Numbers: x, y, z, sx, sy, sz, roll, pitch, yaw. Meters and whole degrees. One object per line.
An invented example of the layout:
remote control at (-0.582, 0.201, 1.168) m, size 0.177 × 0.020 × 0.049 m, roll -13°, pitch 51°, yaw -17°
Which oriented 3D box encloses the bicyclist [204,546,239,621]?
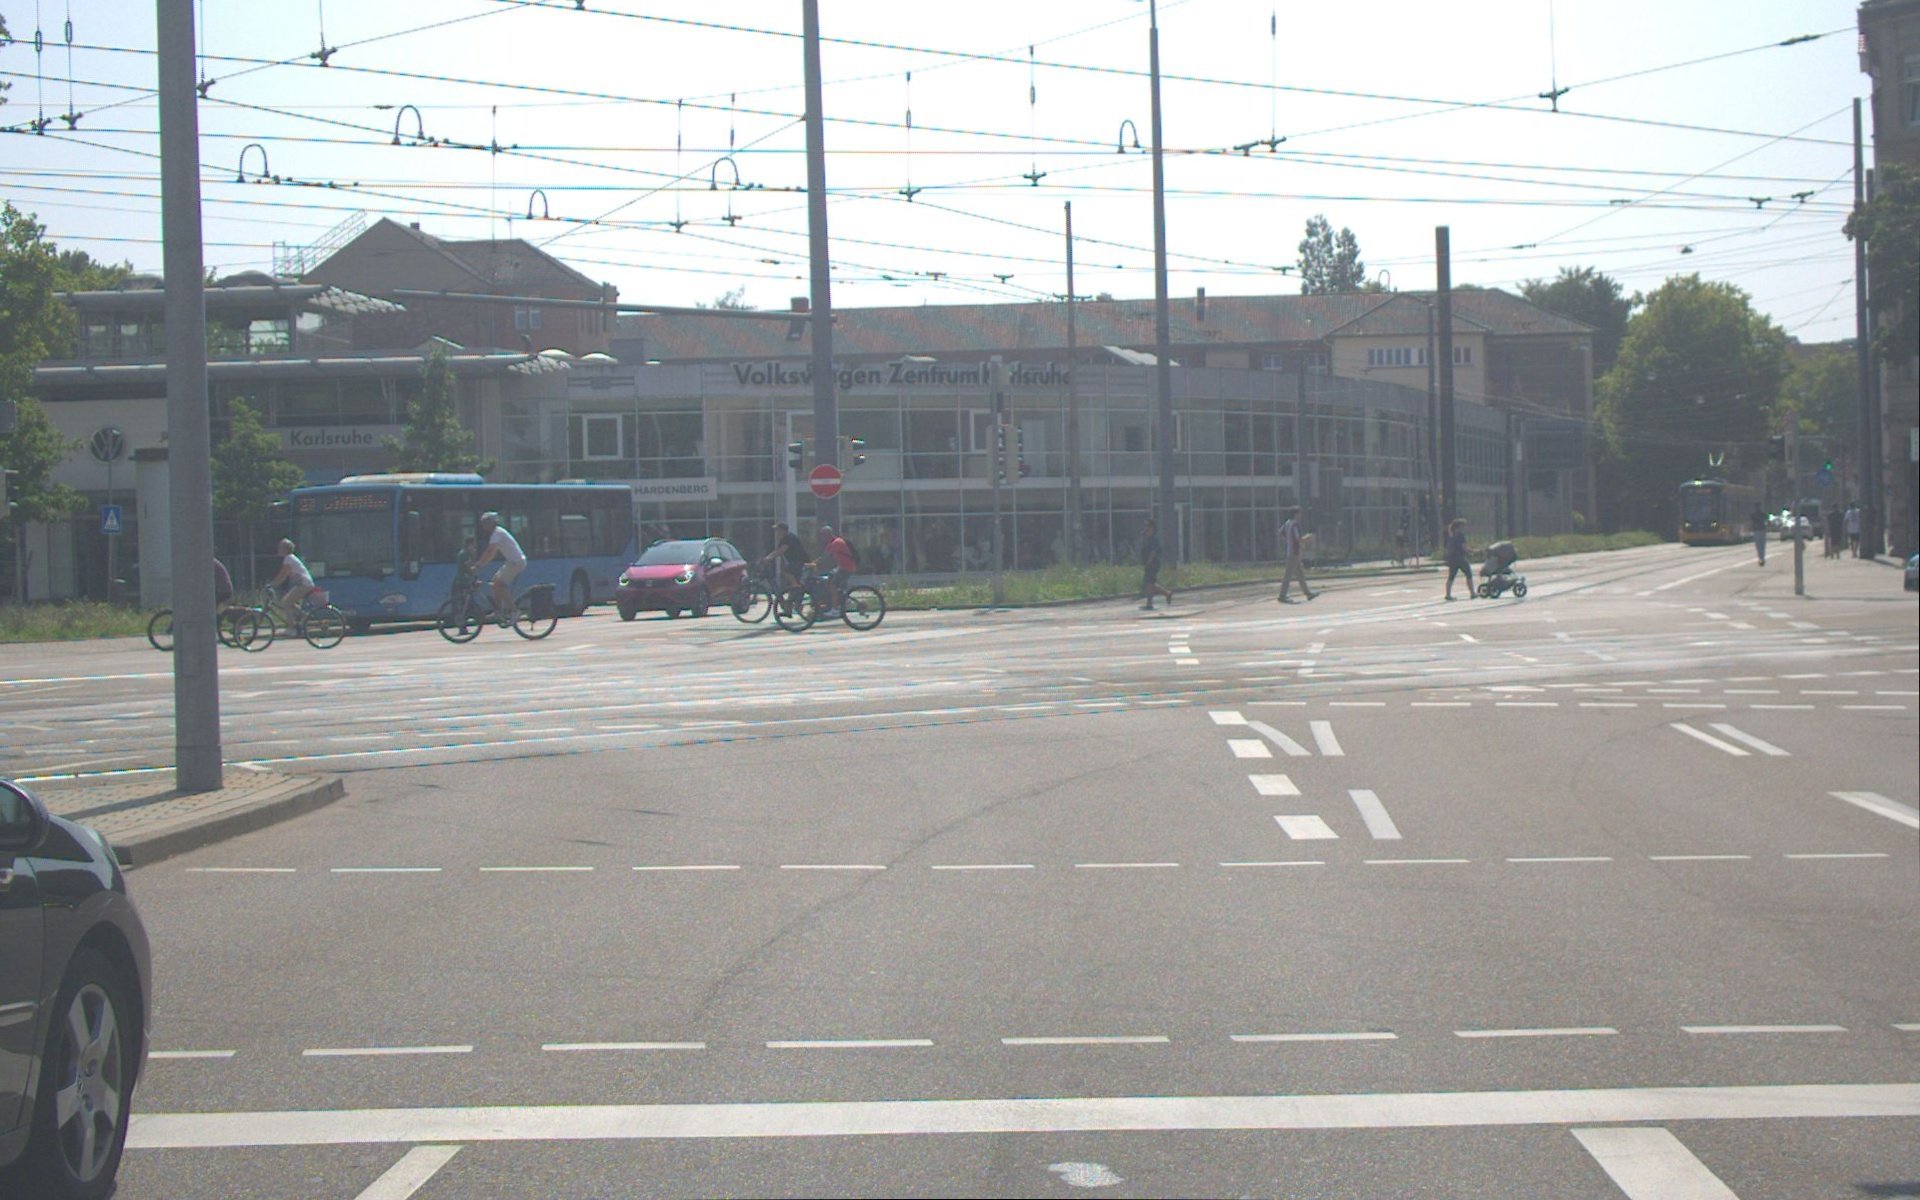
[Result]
bicyclist at (-12.803, -0.291, 59.580) m, size 0.544 × 1.289 × 0.559 m, roll -1°, pitch 1°, yaw -10°

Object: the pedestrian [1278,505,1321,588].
pedestrian at (6.608, -1.043, 66.986) m, size 0.699 × 1.597 × 0.573 m, roll -1°, pitch 1°, yaw -7°

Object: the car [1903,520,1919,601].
car at (18.467, -0.717, 59.180) m, size 3.986 × 1.389 × 1.596 m, roll -1°, pitch 1°, yaw -7°

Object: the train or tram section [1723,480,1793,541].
train or tram section at (47.739, -5.330, 205.451) m, size 2.591 × 3.504 × 12.960 m, roll -1°, pitch 1°, yaw 20°

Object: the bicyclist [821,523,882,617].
bicyclist at (-1.738, -0.484, 54.903) m, size 0.871 × 1.478 × 0.497 m, roll -1°, pitch 1°, yaw -12°

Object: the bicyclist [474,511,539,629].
bicyclist at (-7.028, -0.463, 53.255) m, size 0.923 × 1.801 × 0.497 m, roll -1°, pitch 1°, yaw -11°

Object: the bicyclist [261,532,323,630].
bicyclist at (-10.452, -0.307, 53.770) m, size 0.909 × 1.503 × 0.559 m, roll -1°, pitch 1°, yaw -11°

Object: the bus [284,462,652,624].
bus at (-10.003, -1.232, 71.910) m, size 2.564 × 3.072 × 12.013 m, roll -1°, pitch 1°, yaw 18°

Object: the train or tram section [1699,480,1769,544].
train or tram section at (43.932, -4.973, 194.881) m, size 2.591 × 3.504 × 9.649 m, roll -1°, pitch 1°, yaw 20°

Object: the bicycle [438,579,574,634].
bicycle at (-7.033, 0.095, 53.258) m, size 2.048 × 0.799 × 0.479 m, roll -1°, pitch 1°, yaw -11°

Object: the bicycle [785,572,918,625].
bicycle at (-1.737, -0.026, 54.893) m, size 2.048 × 0.799 × 0.479 m, roll -1°, pitch 1°, yaw -11°

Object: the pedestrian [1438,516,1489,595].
pedestrian at (9.910, -0.875, 67.682) m, size 0.850 × 1.539 × 0.529 m, roll -1°, pitch 1°, yaw -7°

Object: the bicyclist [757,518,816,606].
bicyclist at (-2.951, -0.648, 58.432) m, size 0.871 × 1.470 × 0.546 m, roll -1°, pitch 1°, yaw -17°

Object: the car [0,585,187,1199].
car at (-2.875, 0.691, 6.380) m, size 1.766 × 1.383 × 3.781 m, roll 1°, pitch 1°, yaw 5°

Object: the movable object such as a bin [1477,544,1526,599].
movable object such as a bin at (10.670, -0.568, 67.762) m, size 0.812 × 1.073 × 0.512 m, roll -1°, pitch 1°, yaw -9°

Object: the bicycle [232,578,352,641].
bicycle at (-10.447, 0.145, 53.782) m, size 1.813 × 0.939 × 0.568 m, roll -1°, pitch 1°, yaw -10°

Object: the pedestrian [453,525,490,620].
pedestrian at (-8.753, -0.495, 61.607) m, size 0.552 × 1.678 × 0.454 m, roll -1°, pitch 1°, yaw -17°

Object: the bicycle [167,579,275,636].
bicycle at (-12.816, 0.129, 59.638) m, size 1.813 × 0.939 × 0.416 m, roll -1°, pitch 1°, yaw -11°

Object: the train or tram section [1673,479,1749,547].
train or tram section at (40.477, -4.664, 185.133) m, size 2.591 × 3.504 × 10.888 m, roll -1°, pitch 1°, yaw 20°

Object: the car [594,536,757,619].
car at (-5.647, -0.472, 68.620) m, size 1.751 × 1.546 × 3.996 m, roll -1°, pitch 1°, yaw 19°

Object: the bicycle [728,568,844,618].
bicycle at (-2.953, -0.123, 58.432) m, size 1.855 × 0.799 × 0.608 m, roll -2°, pitch 1°, yaw -17°
